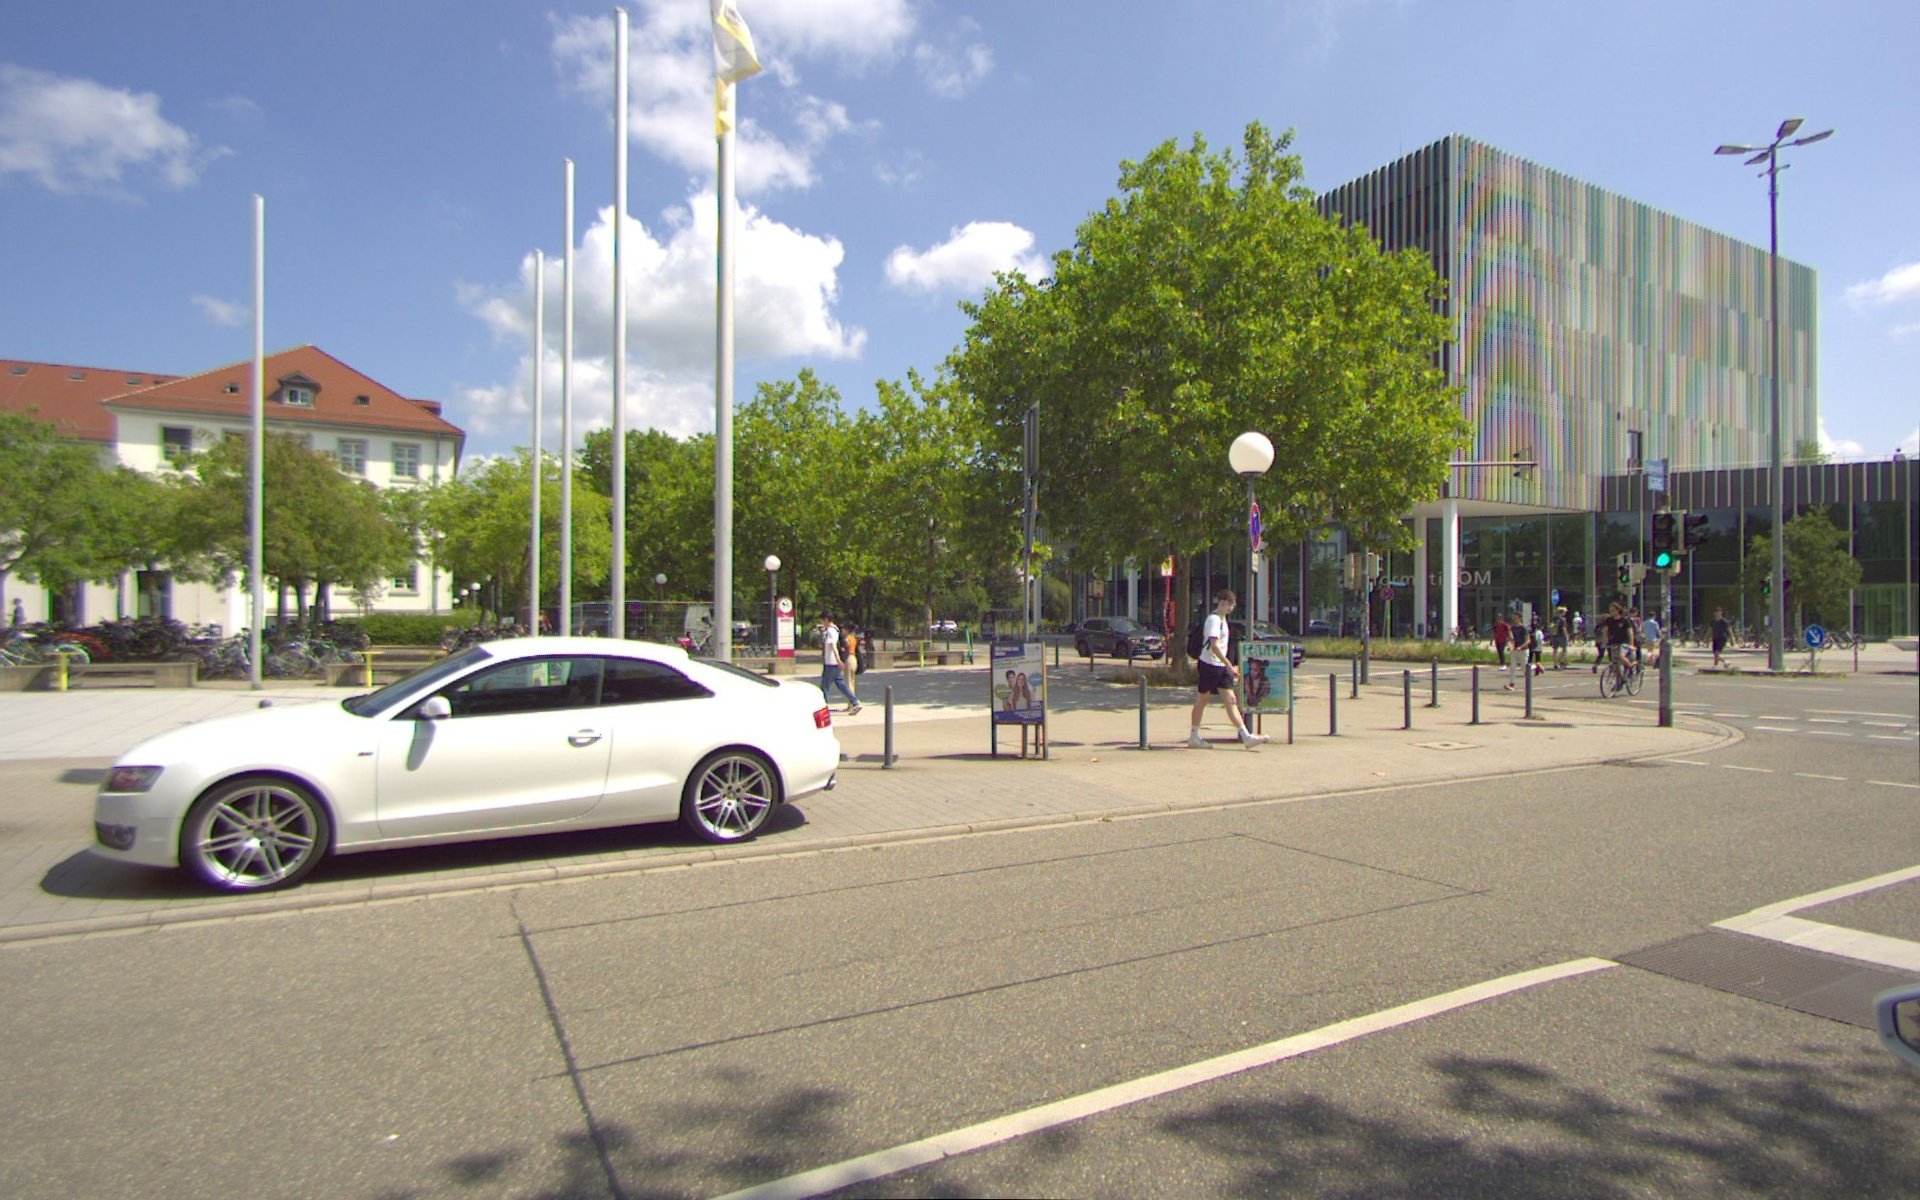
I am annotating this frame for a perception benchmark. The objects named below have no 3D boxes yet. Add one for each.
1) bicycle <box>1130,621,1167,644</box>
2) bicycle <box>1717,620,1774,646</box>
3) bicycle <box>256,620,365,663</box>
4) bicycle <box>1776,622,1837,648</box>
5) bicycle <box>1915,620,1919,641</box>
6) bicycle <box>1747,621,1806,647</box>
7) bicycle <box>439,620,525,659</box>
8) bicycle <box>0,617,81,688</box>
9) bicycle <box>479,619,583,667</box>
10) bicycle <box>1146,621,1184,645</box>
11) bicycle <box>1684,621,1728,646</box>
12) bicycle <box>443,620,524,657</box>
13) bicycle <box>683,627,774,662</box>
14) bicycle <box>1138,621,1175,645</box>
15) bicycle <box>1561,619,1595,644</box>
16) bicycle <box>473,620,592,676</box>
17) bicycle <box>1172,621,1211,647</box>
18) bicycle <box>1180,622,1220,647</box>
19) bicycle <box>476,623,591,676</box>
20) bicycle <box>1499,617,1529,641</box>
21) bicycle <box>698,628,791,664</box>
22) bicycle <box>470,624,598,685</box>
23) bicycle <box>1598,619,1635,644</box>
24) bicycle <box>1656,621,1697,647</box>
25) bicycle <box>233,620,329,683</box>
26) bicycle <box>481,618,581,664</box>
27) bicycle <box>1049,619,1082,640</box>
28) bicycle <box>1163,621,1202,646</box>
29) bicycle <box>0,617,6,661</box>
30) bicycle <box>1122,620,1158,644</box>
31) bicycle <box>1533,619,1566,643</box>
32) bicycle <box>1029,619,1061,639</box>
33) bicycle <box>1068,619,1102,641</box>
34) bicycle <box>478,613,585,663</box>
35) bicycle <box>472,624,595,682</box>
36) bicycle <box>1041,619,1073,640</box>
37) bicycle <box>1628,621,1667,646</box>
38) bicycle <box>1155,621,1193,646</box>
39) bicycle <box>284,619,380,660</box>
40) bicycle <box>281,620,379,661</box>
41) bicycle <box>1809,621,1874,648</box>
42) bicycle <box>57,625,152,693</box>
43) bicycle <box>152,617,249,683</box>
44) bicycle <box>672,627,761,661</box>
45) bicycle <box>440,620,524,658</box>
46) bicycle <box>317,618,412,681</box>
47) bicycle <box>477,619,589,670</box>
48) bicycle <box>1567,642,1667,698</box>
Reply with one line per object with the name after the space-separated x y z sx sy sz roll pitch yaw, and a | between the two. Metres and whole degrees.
14.985 2.583 79.820 2.913 1.863 0.956 1 -1 -27 | bicycle
39.549 1.638 50.621 1.177 1.253 2.952 1 -1 15 | bicycle
-22.102 1.416 34.251 2.898 1.430 1.063 1 -1 -11 | bicycle
41.860 1.717 49.741 1.177 1.253 2.952 1 -1 15 | bicycle
72.186 2.264 73.652 2.909 1.595 1.116 0 -1 24 | bicycle
40.792 1.687 50.220 1.177 1.253 2.952 1 -1 15 | bicycle
-18.225 1.515 38.370 2.911 1.430 1.059 1 -1 -25 | bicycle
-20.420 1.112 22.103 2.906 1.430 1.143 0 -1 39 | bicycle
-13.320 1.328 31.275 2.911 1.430 1.059 1 -1 -25 | bicycle
15.887 2.569 77.922 2.913 1.863 0.956 1 -1 -27 | bicycle
38.321 1.702 51.642 1.178 1.253 2.950 0 -1 23 | bicycle
-19.251 1.547 40.688 2.911 1.430 1.059 1 -1 -25 | bicycle
-8.050 1.541 35.019 2.923 1.163 0.991 1 -1 -37 | bicycle
15.448 2.577 78.895 2.913 1.863 0.956 1 -1 -27 | bicycle
32.957 1.657 53.610 1.178 1.253 2.949 0 -1 25 | bicycle
-11.581 1.287 27.279 2.911 1.430 1.011 1 -1 -25 | bicycle
17.279 2.549 75.027 2.912 1.863 0.956 1 -1 -26 | bicycle
17.728 2.542 74.100 2.912 1.863 0.956 1 -1 -26 | bicycle
-11.988 1.367 28.283 2.911 1.430 1.011 1 -1 -25 | bicycle
30.229 1.587 54.804 1.178 1.253 2.949 0 -1 24 | bicycle
-7.237 1.531 33.885 2.923 1.163 0.991 1 -1 -37 | bicycle
-10.718 1.355 25.350 2.911 1.438 1.011 1 -1 -25 | bicycle
34.862 1.659 53.371 1.178 1.253 2.949 0 -1 24 | bicycle
37.231 1.751 52.228 1.178 1.253 2.949 0 -1 24 | bicycle
-16.682 1.223 24.631 2.906 1.430 1.143 0 -1 39 | bicycle
-13.779 1.309 32.309 2.911 1.430 1.059 1 -1 -25 | bicycle
9.469 2.653 90.433 2.915 1.863 0.955 1 -1 -29 | bicycle
16.843 2.556 75.957 2.912 1.863 0.956 1 -1 -26 | bicycle
-32.532 1.258 31.954 2.908 1.430 1.142 1 -1 -22 | bicycle
14.471 2.590 80.813 2.914 1.863 0.956 1 -1 -28 | bicycle
31.767 1.641 54.164 1.178 1.253 2.949 0 -1 24 | bicycle
7.915 2.671 93.288 2.915 1.863 0.955 1 -1 -29 | bicycle
10.933 2.637 87.775 2.915 1.863 0.955 1 -1 -29 | bicycle
-12.875 1.134 30.264 2.911 1.430 1.059 1 -1 -25 | bicycle
-11.147 1.366 26.318 2.911 1.435 1.011 1 -1 -25 | bicycle
8.864 2.660 91.535 2.915 1.863 0.955 1 -1 -29 | bicycle
36.083 1.724 52.739 1.178 1.253 2.949 0 -1 24 | bicycle
16.411 2.563 76.932 2.912 1.863 0.956 1 -1 -26 | bicycle
-23.085 1.448 37.001 2.917 1.430 1.057 1 -1 -31 | bicycle
-22.425 1.429 35.854 2.917 1.430 1.057 1 -1 -31 | bicycle
42.941 1.675 48.993 1.177 1.253 2.952 1 -1 15 | bicycle
-19.697 1.307 23.111 2.906 1.430 1.143 0 -1 39 | bicycle
-17.865 1.137 23.583 2.906 1.430 1.143 0 -1 39 | bicycle
-8.677 1.549 35.890 2.923 1.152 0.991 1 -1 -37 | bicycle
-18.739 1.538 39.472 2.911 1.430 1.059 1 -1 -25 | bicycle
-14.677 1.180 24.712 2.906 1.430 1.061 0 -1 39 | bicycle
-12.411 1.277 29.258 2.911 1.430 1.059 1 -1 -25 | bicycle
14.241 1.497 21.780 1.995 1.137 0.770 0 -1 -20 | bicycle
